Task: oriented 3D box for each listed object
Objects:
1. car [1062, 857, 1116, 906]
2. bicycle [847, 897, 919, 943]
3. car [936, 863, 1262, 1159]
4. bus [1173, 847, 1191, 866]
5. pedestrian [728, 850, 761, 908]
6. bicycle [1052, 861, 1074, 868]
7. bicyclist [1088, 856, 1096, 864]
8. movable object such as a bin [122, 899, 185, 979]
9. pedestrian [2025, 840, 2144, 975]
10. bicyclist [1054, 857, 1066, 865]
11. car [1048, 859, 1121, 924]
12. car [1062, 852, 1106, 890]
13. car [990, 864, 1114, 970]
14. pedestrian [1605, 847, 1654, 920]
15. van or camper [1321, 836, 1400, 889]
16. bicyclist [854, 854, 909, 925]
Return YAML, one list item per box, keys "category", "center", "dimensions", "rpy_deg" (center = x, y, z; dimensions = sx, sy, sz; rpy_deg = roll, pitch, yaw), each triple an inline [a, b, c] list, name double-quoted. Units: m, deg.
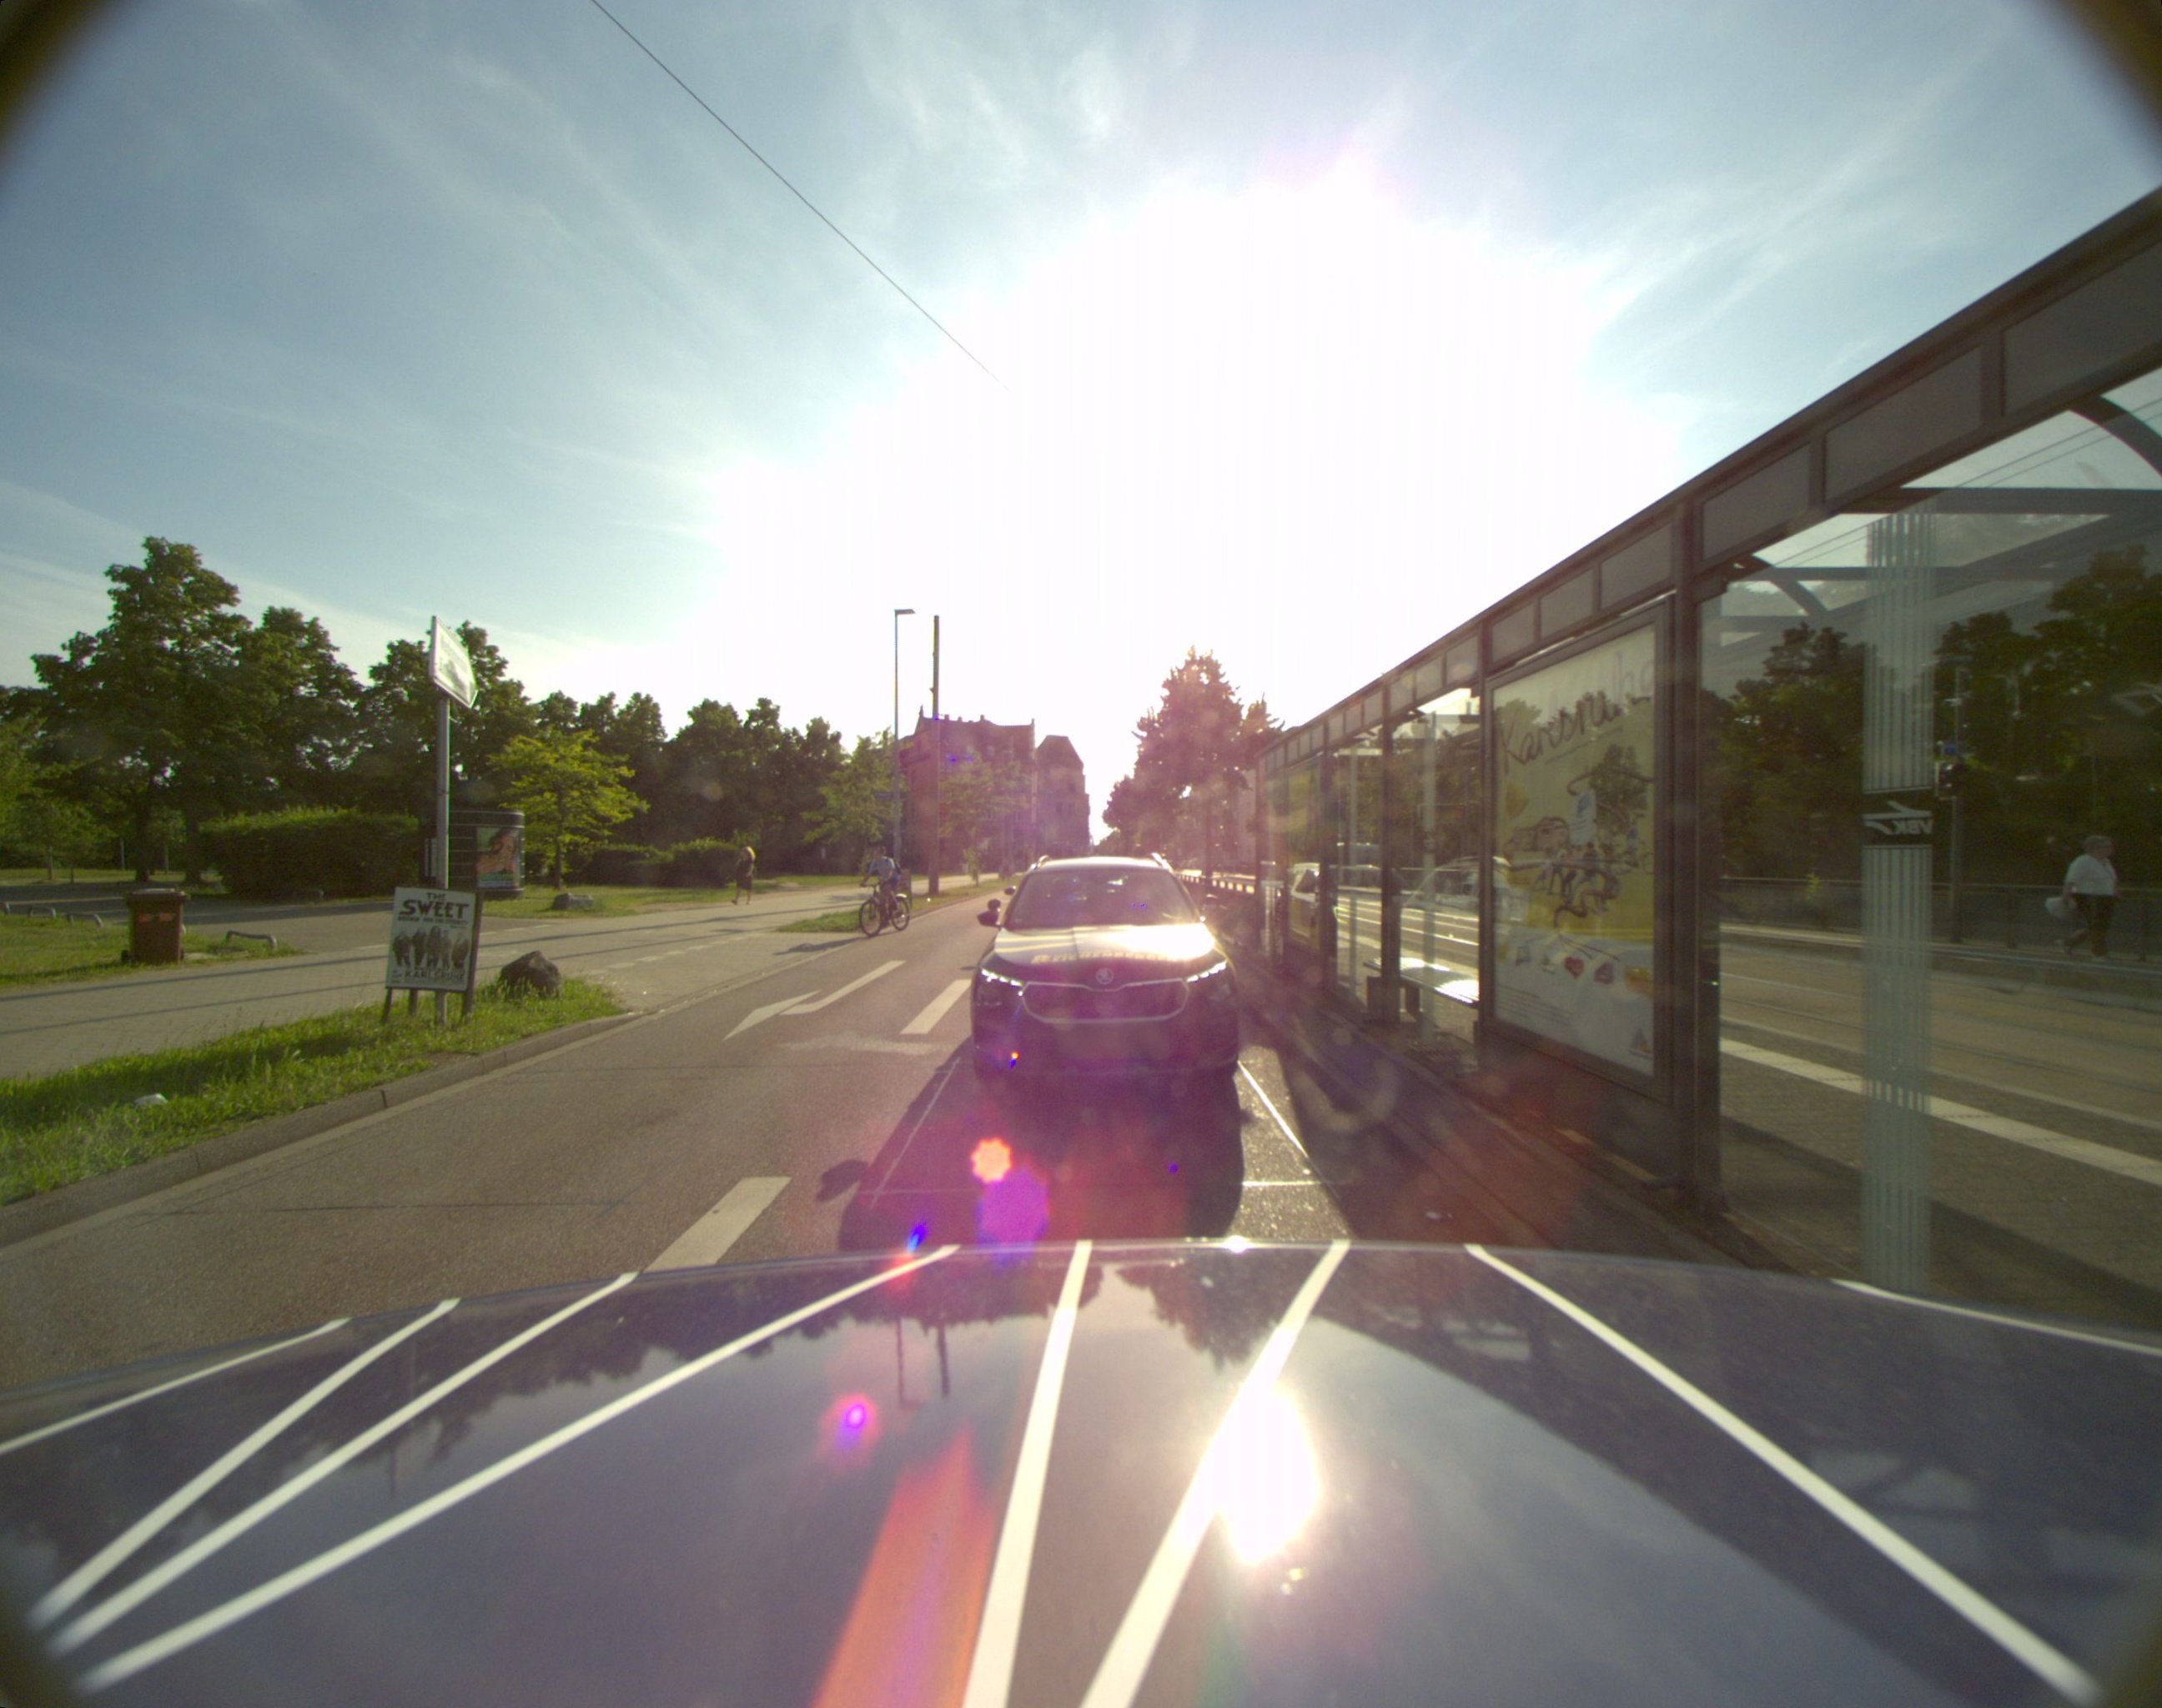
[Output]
- category: "car"
  center: [0.300, 0.909, 27.009]
  dimensions: [1.756, 1.534, 4.235]
  rpy_deg: [-1, 0, 1]
- category: "bicycle"
  center: [-4.110, 1.359, 15.934]
  dimensions: [0.566, 0.789, 2.043]
  rpy_deg: [0, 0, 13]
- category: "car"
  center: [0.132, 0.893, 6.290]
  dimensions: [1.756, 1.534, 4.235]
  rpy_deg: [-1, 0, 1]
- category: "bus"
  center: [19.908, 0.448, 150.044]
  dimensions: [2.437, 3.415, 9.261]
  rpy_deg: [-2, 1, 1]
- category: "pedestrian"
  center: [-9.806, 0.718, 22.134]
  dimensions: [0.621, 1.675, 0.618]
  rpy_deg: [-2, 1, 1]
- category: "bicycle"
  center: [-2.135, 1.220, 89.902]
  dimensions: [2.543, 0.876, 0.629]
  rpy_deg: [0, 0, -24]
- category: "bicyclist"
  center: [1.348, 0.732, 91.699]
  dimensions: [0.898, 0.908, 0.615]
  rpy_deg: [0, 0, -15]
- category: "movable object such as a bin"
  center: [-11.388, 1.025, 9.342]
  dimensions: [0.603, 0.912, 0.457]
  rpy_deg: [1, 1, 42]
- category: "pedestrian"
  center: [13.086, 0.683, 9.926]
  dimensions: [0.621, 1.675, 0.618]
  rpy_deg: [3, 1, 1]
- category: "bicyclist"
  center: [-2.445, 0.818, 89.754]
  dimensions: [1.219, 1.018, 0.670]
  rpy_deg: [0, 0, -22]
- category: "car"
  center: [0.121, 0.936, 20.896]
  dimensions: [1.756, 1.534, 4.235]
  rpy_deg: [-1, 0, 1]
- category: "car"
  center: [0.172, 0.685, 33.064]
  dimensions: [1.756, 1.534, 4.235]
  rpy_deg: [-1, 0, 1]
- category: "car"
  center: [-0.387, 0.941, 13.158]
  dimensions: [1.756, 1.451, 4.235]
  rpy_deg: [-1, 0, 1]
- category: "pedestrian"
  center: [13.010, 0.688, 18.030]
  dimensions: [0.621, 1.675, 0.618]
  rpy_deg: [3, 1, 1]
- category: "van or camper"
  center: [17.039, 0.427, 46.729]
  dimensions: [2.527, 2.951, 6.411]
  rpy_deg: [-2, 1, 1]
- category: "bicyclist"
  center: [-4.171, 0.718, 15.948]
  dimensions: [0.688, 1.445, 1.112]
  rpy_deg: [0, 0, 13]
